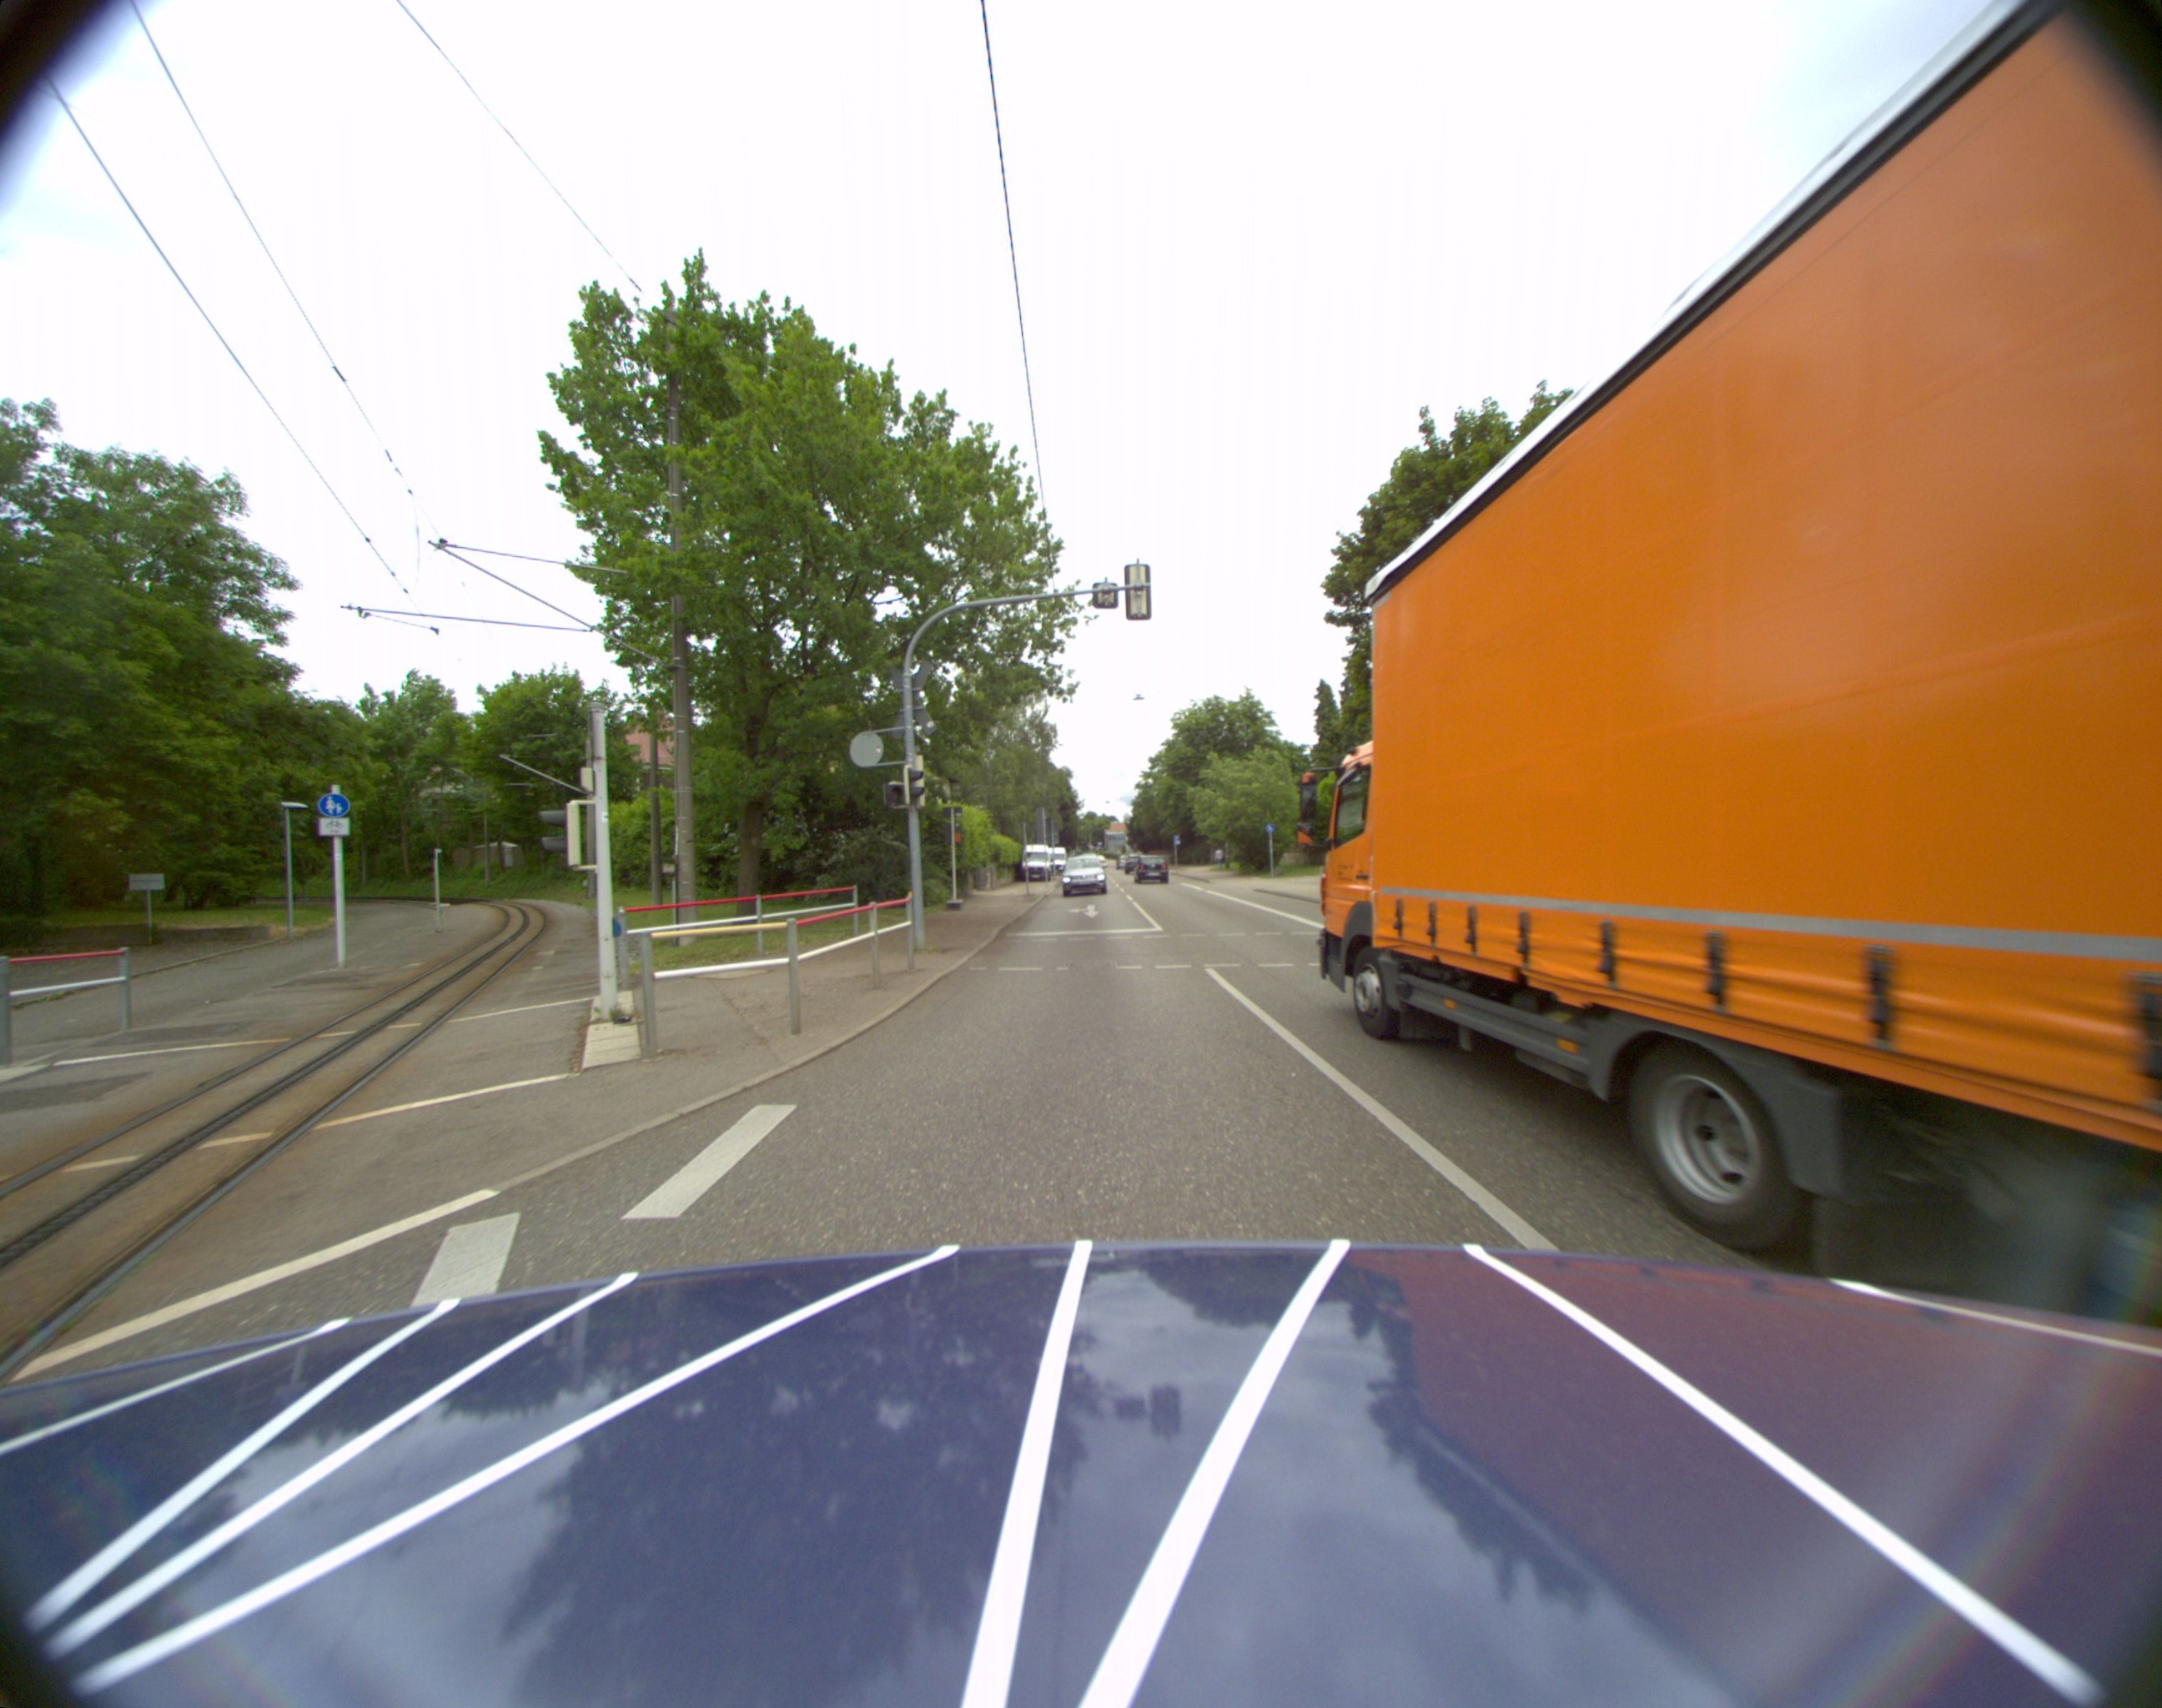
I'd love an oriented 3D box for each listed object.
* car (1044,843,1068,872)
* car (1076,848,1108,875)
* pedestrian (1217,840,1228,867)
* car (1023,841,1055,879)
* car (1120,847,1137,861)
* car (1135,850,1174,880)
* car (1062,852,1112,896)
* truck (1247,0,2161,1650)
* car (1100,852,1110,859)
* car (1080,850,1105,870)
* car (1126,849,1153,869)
[{"bbox_3d":[-2.339,0.328,72.635,2.046,2.588,5.966,-2,0,1],"label":"car"},{"bbox_3d":[0.685,0.465,52.220,1.835,1.610,4.487,-4,1,-2],"label":"car"},{"bbox_3d":[9.653,-0.021,51.841,0.615,1.800,0.785,0,-1,0],"label":"pedestrian"},{"bbox_3d":[-2.995,0.391,55.253,2.095,2.589,6.680,-2,0,-1],"label":"car"},{"bbox_3d":[5.288,0.014,84.161,1.729,1.454,4.154,-2,0,2],"label":"car"},{"bbox_3d":[3.839,0.561,40.195,1.668,1.440,3.827,-2,0,0],"label":"car"},{"bbox_3d":[0.190,0.788,32.680,1.835,1.610,4.487,-4,1,-2],"label":"car"},{"bbox_3d":[3.448,-0.328,4.992,2.776,3.697,8.467,0,0,-1],"label":"truck"},{"bbox_3d":[5.193,0.286,165.009,1.913,1.484,3.999,0,0,-2],"label":"car"},{"bbox_3d":[0.982,0.500,66.111,1.835,1.610,4.487,-4,1,-2],"label":"car"},{"bbox_3d":[4.703,0.403,61.581,1.944,1.522,4.526,0,0,1],"label":"car"}]
